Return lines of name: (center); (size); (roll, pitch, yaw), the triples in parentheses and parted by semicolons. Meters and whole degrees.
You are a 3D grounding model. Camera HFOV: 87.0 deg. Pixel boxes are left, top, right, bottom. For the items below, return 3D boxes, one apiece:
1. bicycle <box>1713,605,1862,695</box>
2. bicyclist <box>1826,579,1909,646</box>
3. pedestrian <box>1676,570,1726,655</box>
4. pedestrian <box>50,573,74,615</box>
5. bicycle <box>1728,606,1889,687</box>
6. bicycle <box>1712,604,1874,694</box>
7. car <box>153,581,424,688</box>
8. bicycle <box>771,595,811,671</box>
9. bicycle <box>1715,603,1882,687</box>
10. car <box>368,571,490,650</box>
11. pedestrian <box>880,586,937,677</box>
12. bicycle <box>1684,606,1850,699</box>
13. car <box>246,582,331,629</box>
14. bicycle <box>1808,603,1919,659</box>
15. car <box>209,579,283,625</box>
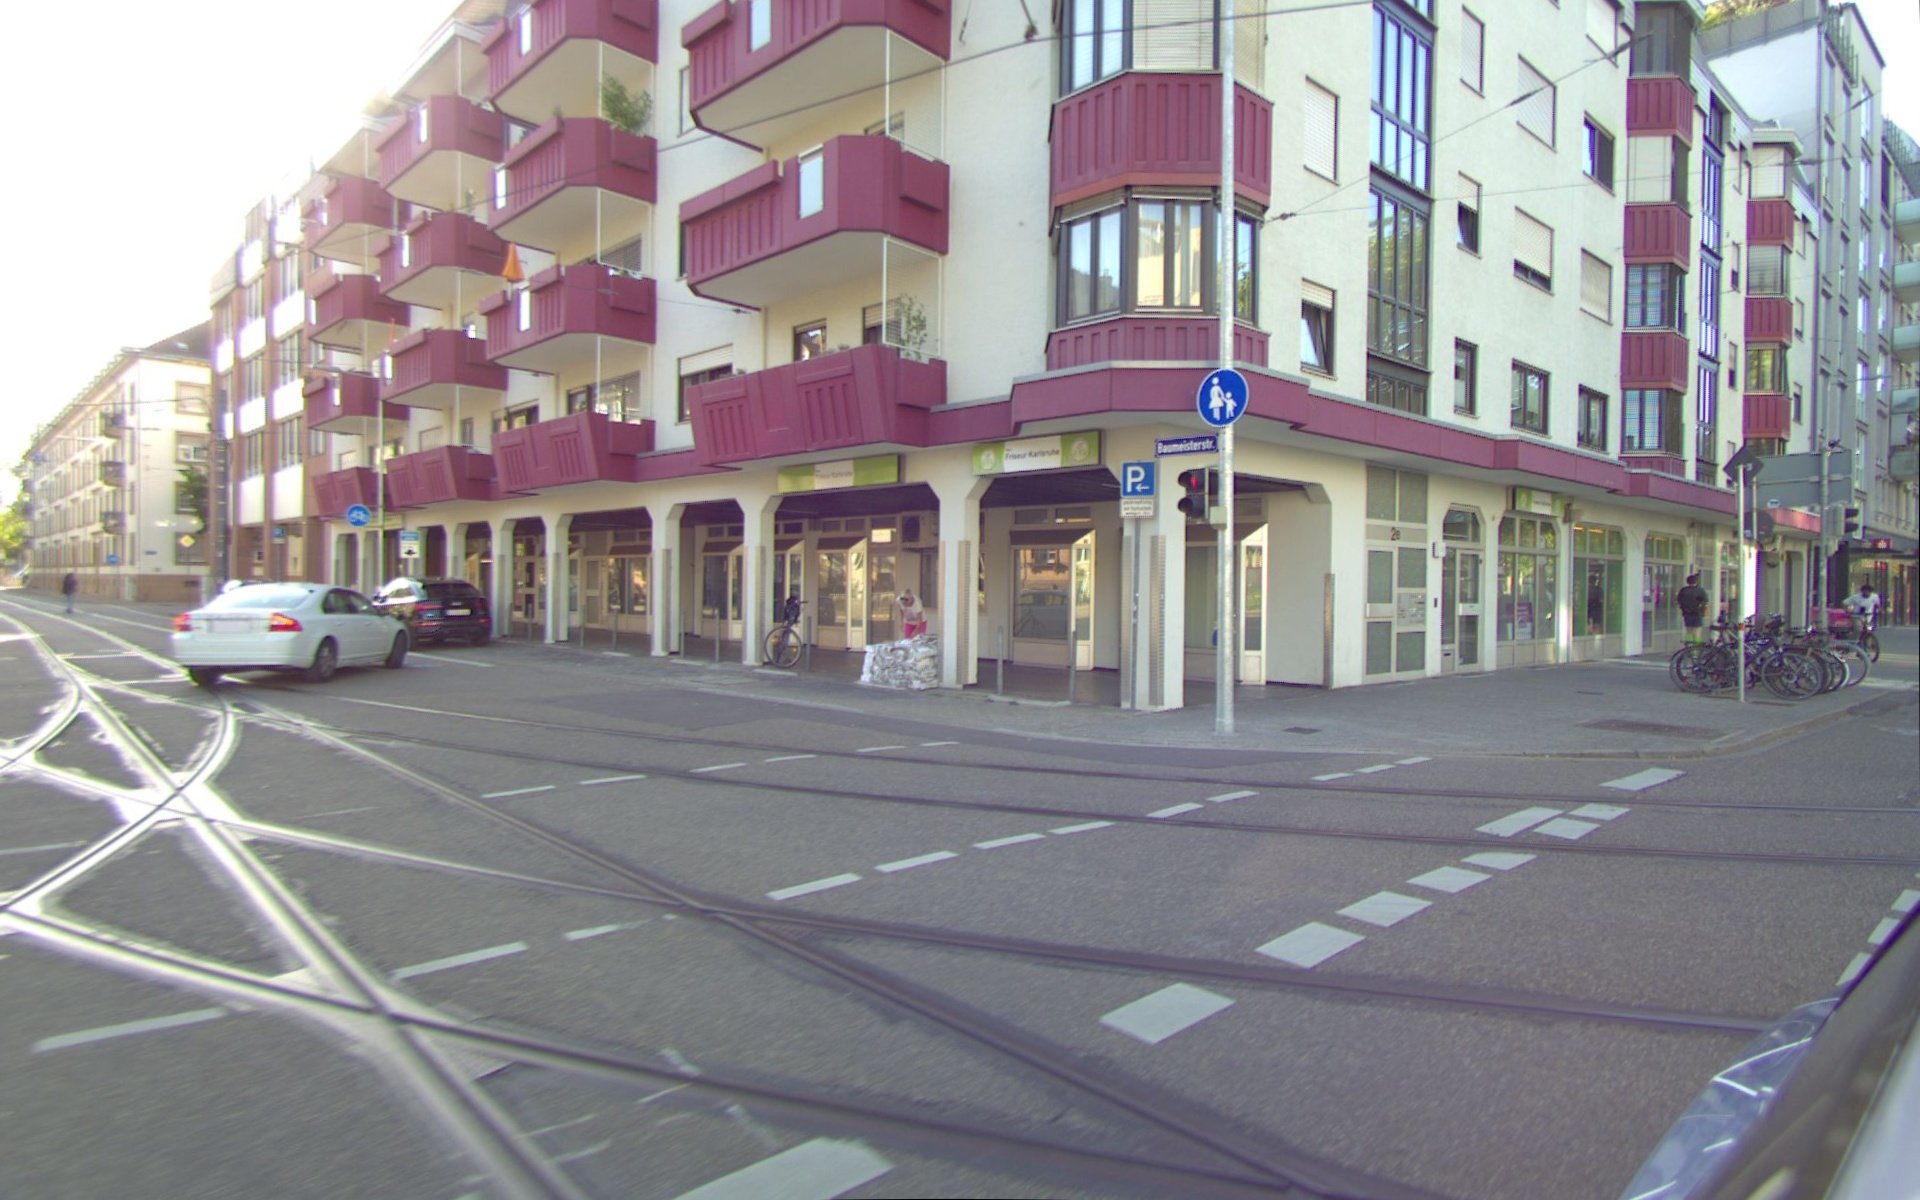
bicycle: (12.256, 0.707, 15.036); (0.486, 1.214, 1.628); (0, 1, -34)
bicyclist: (21.558, 0.278, 24.072); (1.044, 1.559, 1.075); (1, 1, 14)
pedestrian: (16.838, 0.264, 22.998); (0.787, 1.881, 0.724); (0, 1, -40)
pedestrian: (-39.082, -0.278, 44.037); (0.986, 1.791, 0.686); (1, 0, 42)
bicycle: (13.745, 0.719, 16.441); (0.562, 1.185, 1.943); (0, 1, -42)
bicycle: (12.658, 0.709, 15.431); (0.487, 1.236, 1.837); (0, 1, -35)
car: (-10.618, 0.454, 16.524); (1.817, 1.474, 4.908); (1, 1, -9)
bicycle: (-2.996, 0.551, 17.820); (0.603, 1.214, 1.801); (0, 1, -12)
bicycle: (13.266, 0.675, 16.063); (0.581, 1.214, 1.979); (0, 1, -43)
car: (-12.667, 0.216, 24.024); (1.708, 1.705, 3.901); (-1, 0, -41)
pedestrian: (-0.794, 0.467, 15.666); (0.656, 1.367, 0.651); (1, 0, 24)
bicycle: (11.632, 0.719, 14.650); (0.535, 1.214, 1.808); (-1, 2, -34)
car: (-22.717, 0.172, 34.174); (1.880, 1.489, 3.993); (-1, 0, -41)
bicycle: (21.575, 0.696, 24.160); (0.949, 1.198, 2.588); (1, 1, 13)
car: (-26.691, 0.068, 37.805); (1.858, 1.638, 3.993); (-1, 0, -41)
